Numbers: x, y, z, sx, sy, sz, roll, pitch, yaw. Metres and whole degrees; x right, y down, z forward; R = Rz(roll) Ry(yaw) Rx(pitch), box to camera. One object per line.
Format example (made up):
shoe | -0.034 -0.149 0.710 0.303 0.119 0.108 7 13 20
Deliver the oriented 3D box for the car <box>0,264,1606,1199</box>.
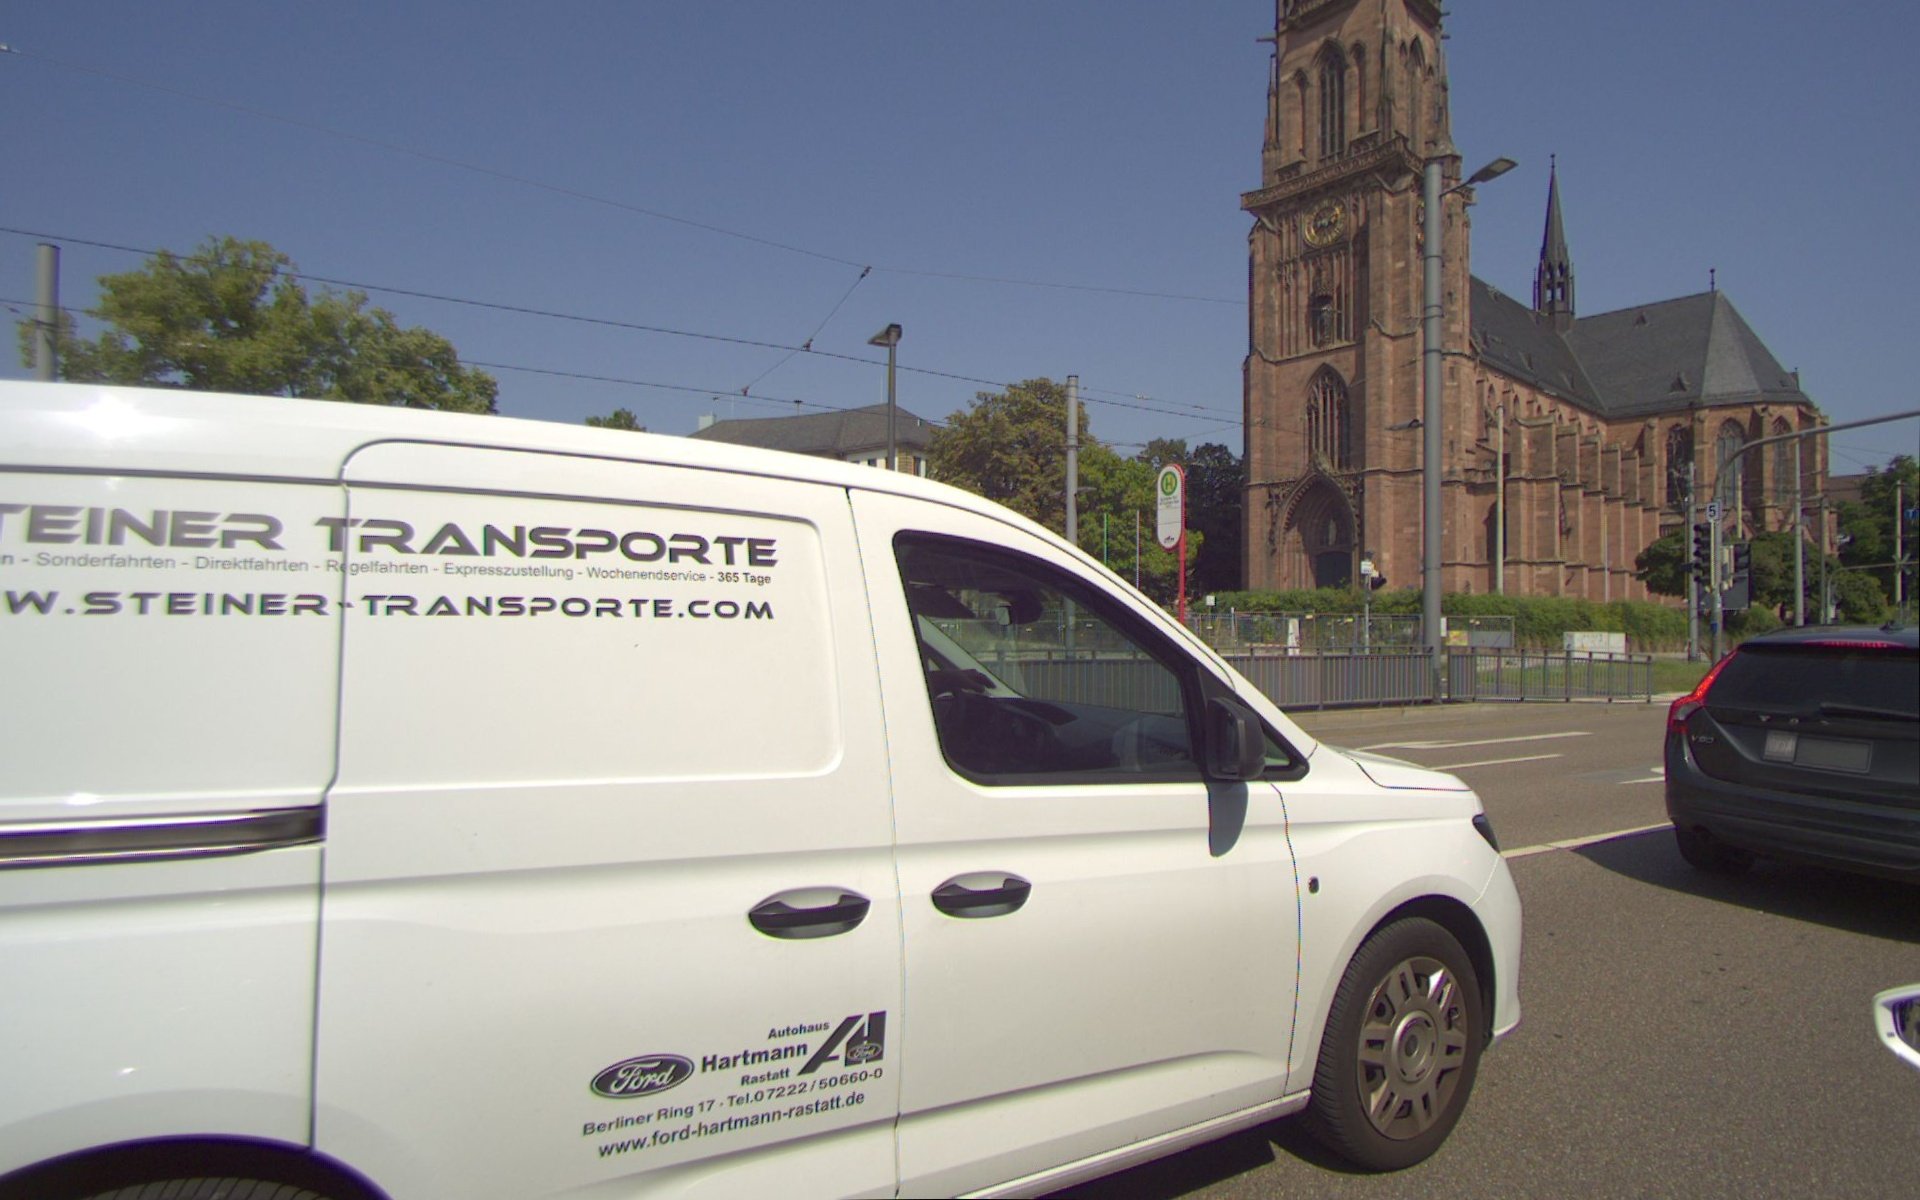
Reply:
car | -0.304 0.550 2.708 4.189 1.844 1.739 1 -1 -30

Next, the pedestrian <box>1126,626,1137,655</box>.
pedestrian | 9.087 2.141 53.156 0.533 1.551 0.436 0 -1 5

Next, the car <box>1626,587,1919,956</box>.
car | 5.936 0.797 5.843 4.257 1.636 1.739 1 0 -30
